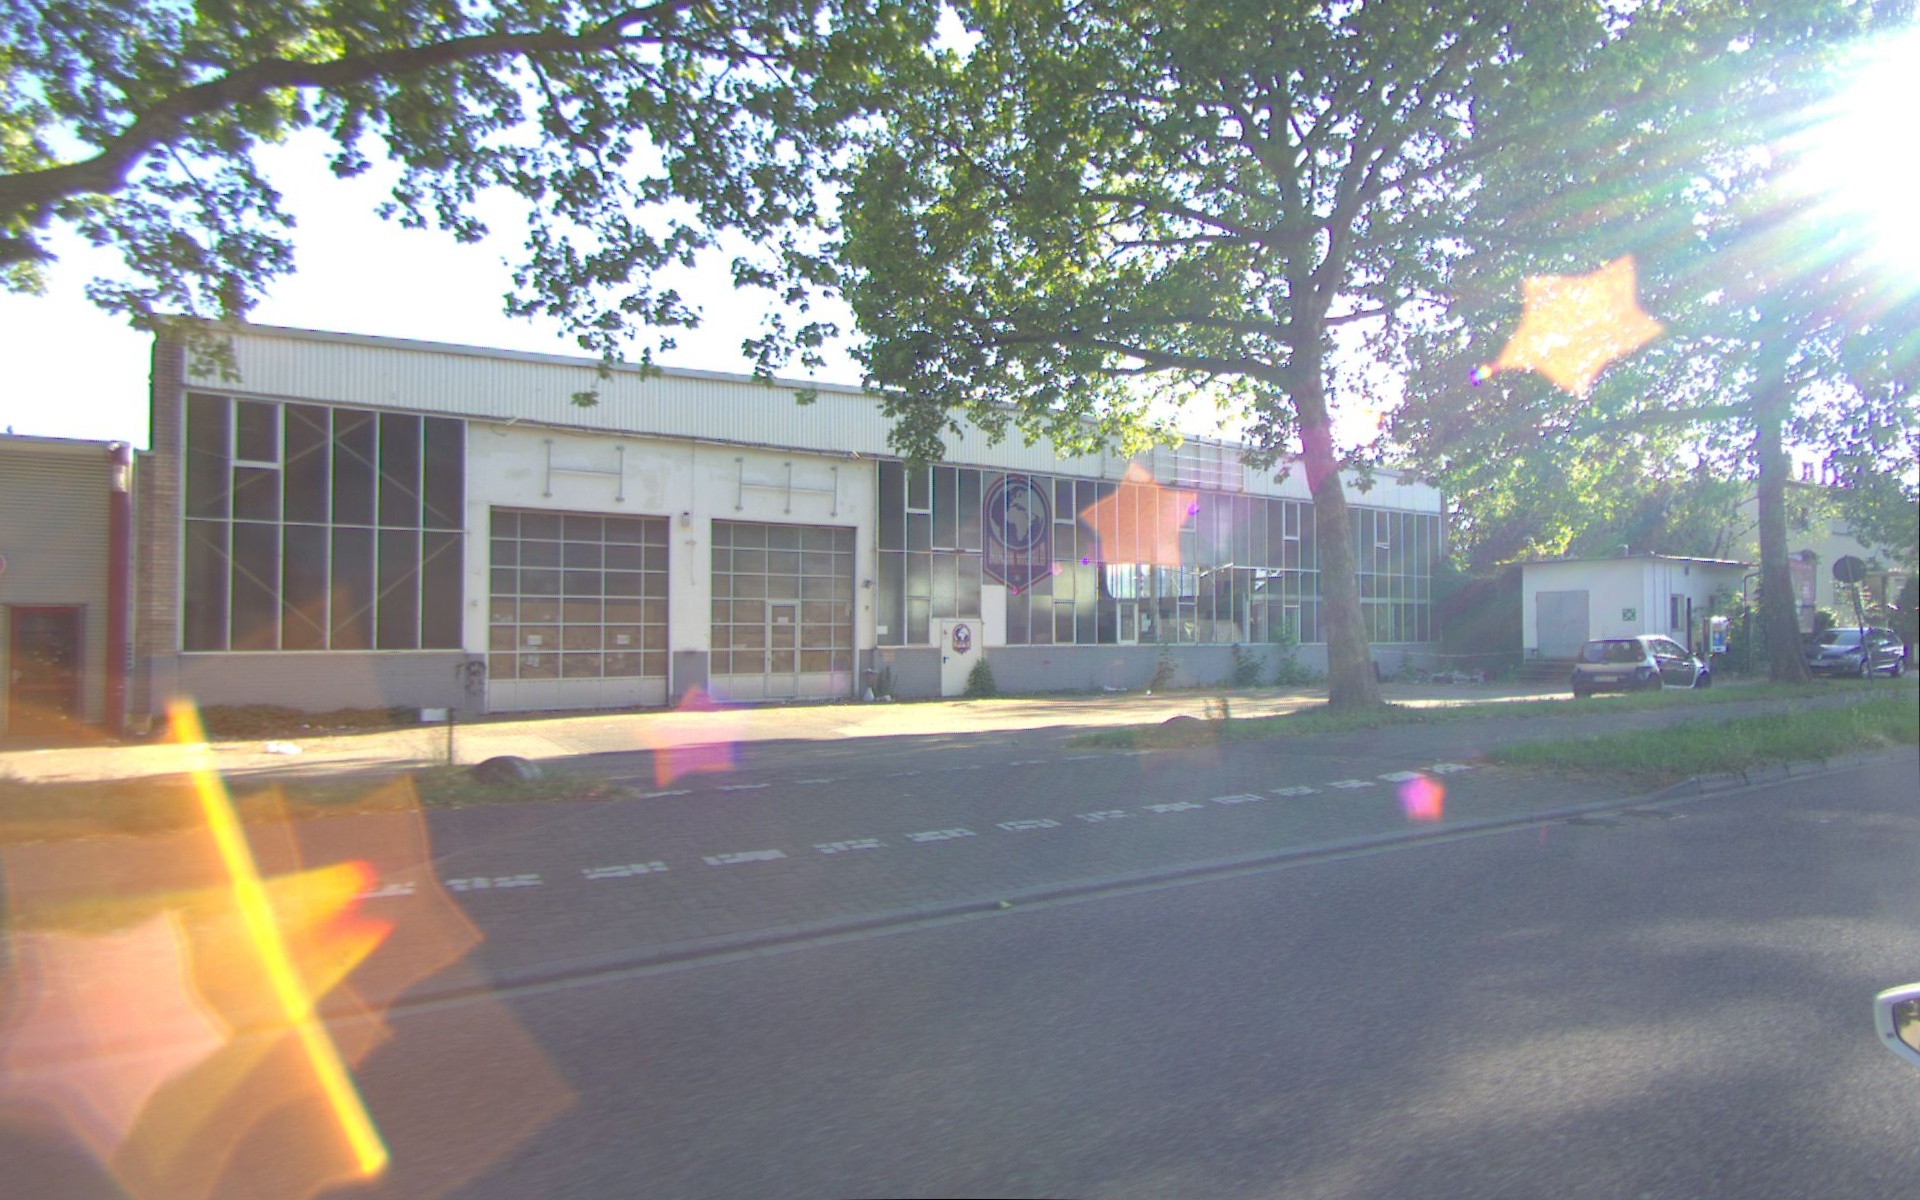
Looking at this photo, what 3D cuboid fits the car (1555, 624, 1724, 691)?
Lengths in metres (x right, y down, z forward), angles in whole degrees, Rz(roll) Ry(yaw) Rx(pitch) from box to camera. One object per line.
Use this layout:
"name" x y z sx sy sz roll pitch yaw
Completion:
"car" 16.055 1.361 23.702 3.881 1.387 1.982 1 -6 -35

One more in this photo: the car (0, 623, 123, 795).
"car" -9.543 0.877 8.331 4.396 1.323 2.000 -1 -1 19

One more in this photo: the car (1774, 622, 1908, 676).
"car" 28.431 1.546 32.401 4.221 1.597 1.985 1 -1 -29
